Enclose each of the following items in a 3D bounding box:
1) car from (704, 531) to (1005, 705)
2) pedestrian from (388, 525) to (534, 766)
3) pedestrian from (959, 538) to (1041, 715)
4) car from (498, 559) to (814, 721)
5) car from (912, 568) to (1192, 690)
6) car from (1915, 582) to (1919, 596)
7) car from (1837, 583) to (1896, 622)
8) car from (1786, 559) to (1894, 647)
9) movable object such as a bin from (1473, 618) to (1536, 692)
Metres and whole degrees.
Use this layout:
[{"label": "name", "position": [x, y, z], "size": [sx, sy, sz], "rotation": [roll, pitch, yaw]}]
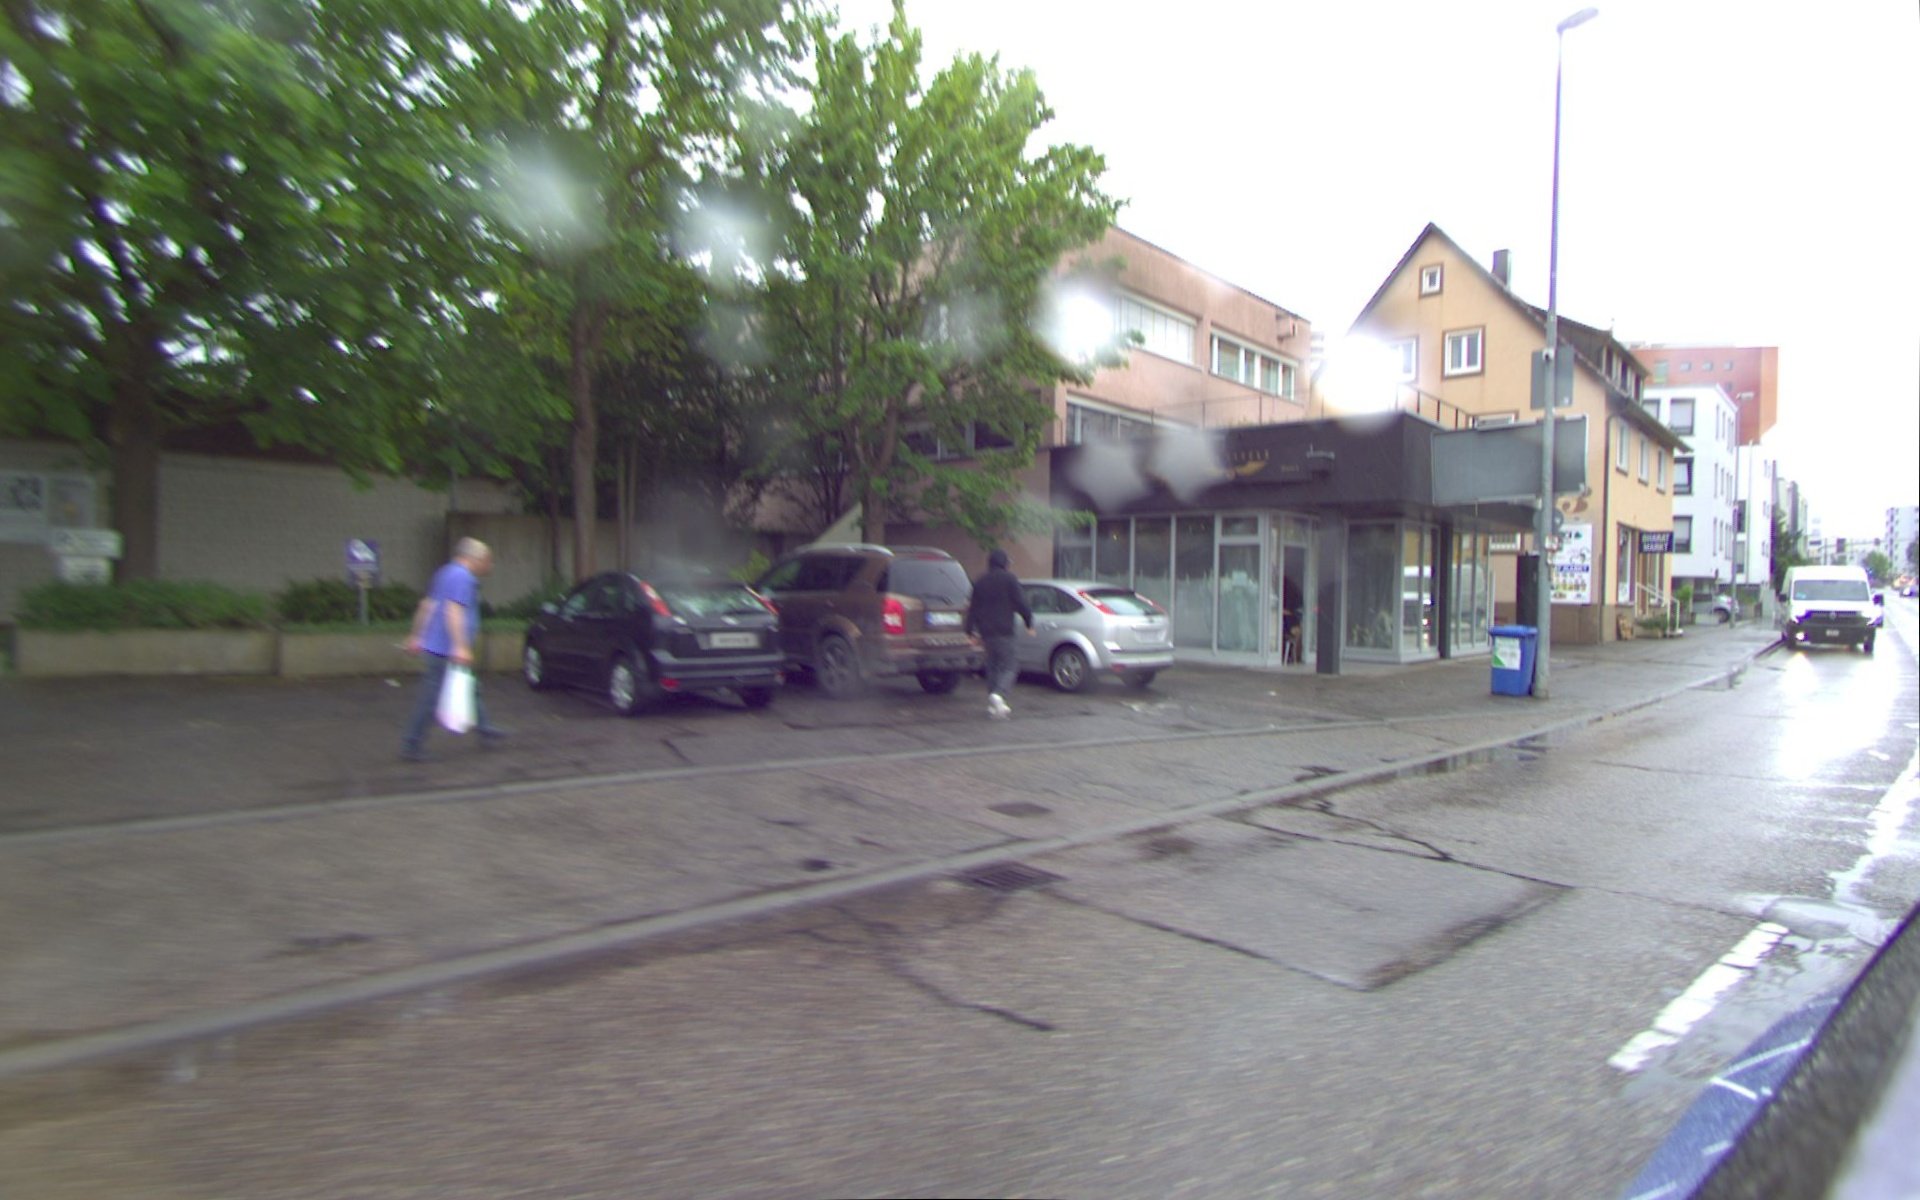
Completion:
[{"label": "car", "position": [-1.509, 0.120, 13.144], "size": [1.844, 1.894, 4.102], "rotation": [1, 2, -41]}, {"label": "pedestrian", "position": [-3.923, 0.318, 7.945], "size": [0.747, 1.758, 0.876], "rotation": [1, 1, -44]}, {"label": "pedestrian", "position": [0.445, 0.254, 11.019], "size": [0.701, 1.843, 0.792], "rotation": [1, 2, 17]}, {"label": "car", "position": [-3.616, 0.306, 11.583], "size": [1.773, 1.472, 4.152], "rotation": [0, 2, -44]}, {"label": "car", "position": [1.217, 0.324, 14.827], "size": [1.716, 1.465, 3.994], "rotation": [1, 2, -41]}, {"label": "car", "position": [112.801, -1.255, 118.062], "size": [1.713, 1.467, 4.138], "rotation": [2, 4, 40]}, {"label": "car", "position": [44.126, 0.096, 49.335], "size": [2.009, 1.641, 4.299], "rotation": [1, 3, 40]}, {"label": "car", "position": [27.495, -0.046, 31.580], "size": [2.290, 2.411, 6.526], "rotation": [2, 4, 42]}, {"label": "movable object such as a bin", "position": [8.419, 0.840, 15.653], "size": [0.686, 1.088, 0.637], "rotation": [3, 0, -43]}]
